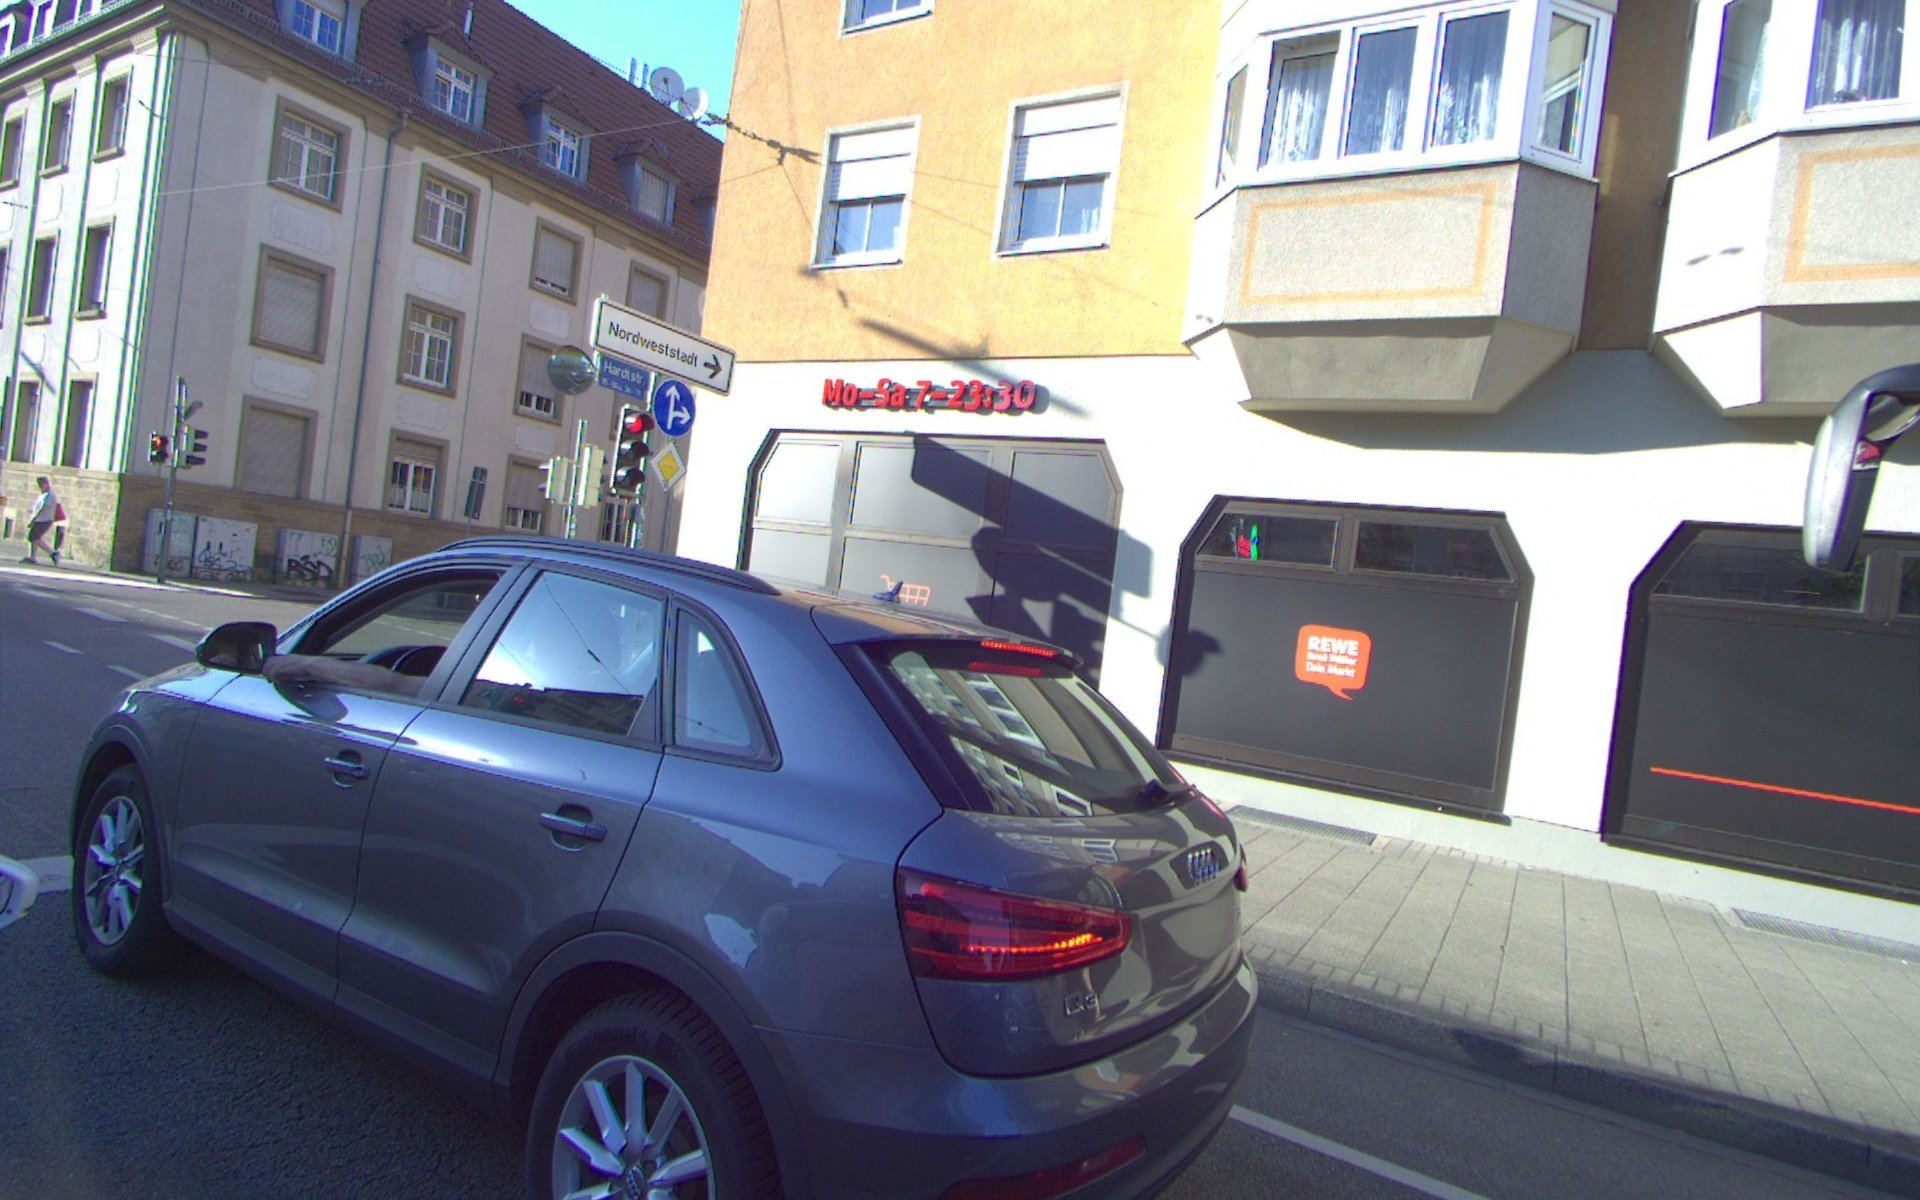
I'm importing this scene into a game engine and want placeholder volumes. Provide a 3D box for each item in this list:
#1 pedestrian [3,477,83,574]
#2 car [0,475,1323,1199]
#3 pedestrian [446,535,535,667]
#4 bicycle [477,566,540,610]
[{"bbox_3d":[-18.387,-1.486,20.171,0.810,1.783,0.837,6,-1,31],"label":"pedestrian"},{"bbox_3d":[-1.236,0.609,3.271,4.155,1.571,1.700,7,-1,32],"label":"car"},{"bbox_3d":[-6.768,0.012,14.505,0.812,1.778,0.630,6,-1,32],"label":"pedestrian"},{"bbox_3d":[-12.510,-0.321,27.921,1.499,1.029,0.247,9,-2,-43],"label":"bicycle"}]
